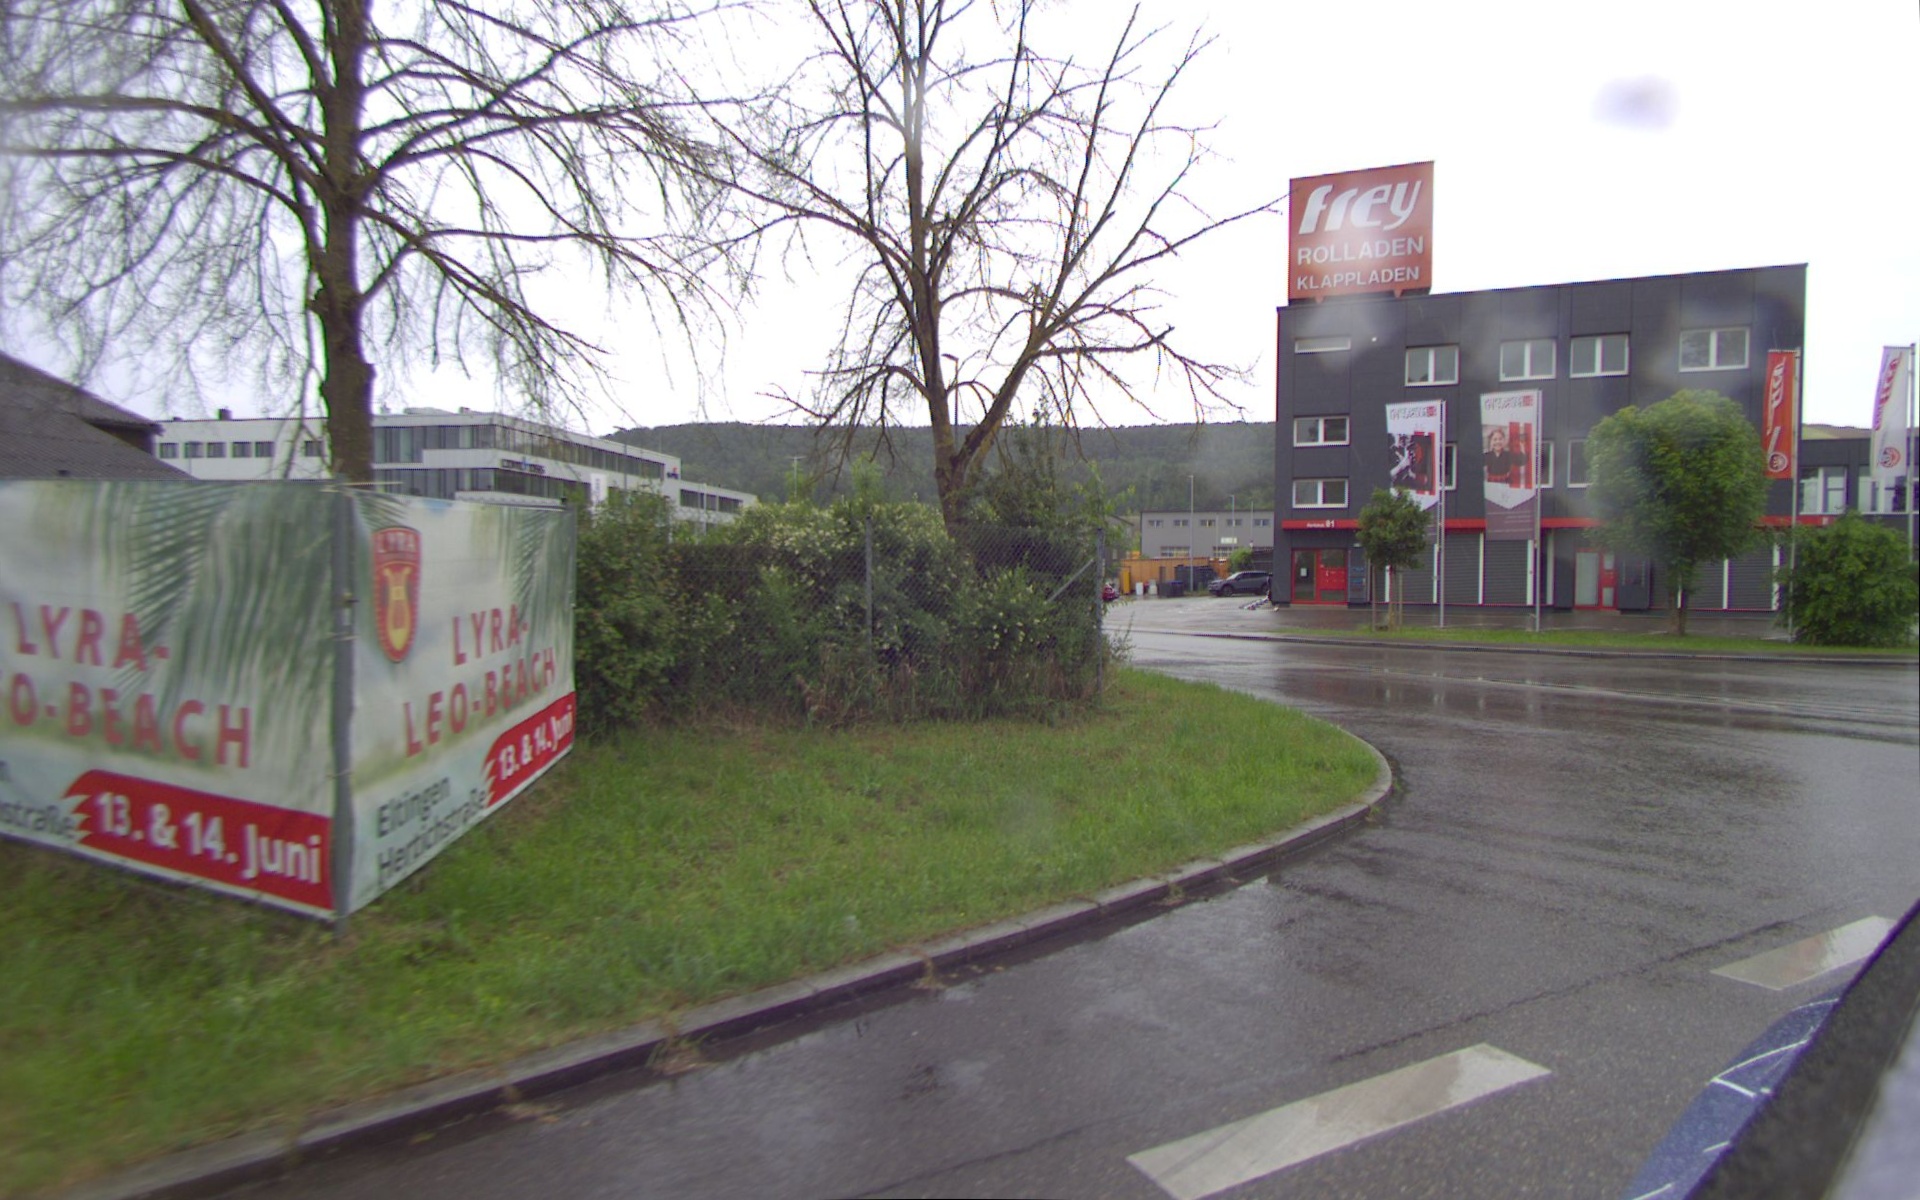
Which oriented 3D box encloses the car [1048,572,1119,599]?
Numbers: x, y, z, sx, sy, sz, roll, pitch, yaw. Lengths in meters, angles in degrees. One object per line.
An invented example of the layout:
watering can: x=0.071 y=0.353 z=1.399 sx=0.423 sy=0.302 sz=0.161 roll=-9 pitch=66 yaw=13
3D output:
car: x=7.608 y=-0.923 z=62.349 sx=3.980 sy=1.594 sz=1.897 roll=1 pitch=1 yaw=39

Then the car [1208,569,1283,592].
car: x=17.808 y=-1.203 z=63.308 sx=4.117 sy=1.404 sz=2.000 roll=0 pitch=1 yaw=0

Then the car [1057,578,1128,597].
car: x=8.472 y=-0.792 z=64.800 sx=4.165 sy=1.175 sz=1.911 roll=1 pitch=1 yaw=32
